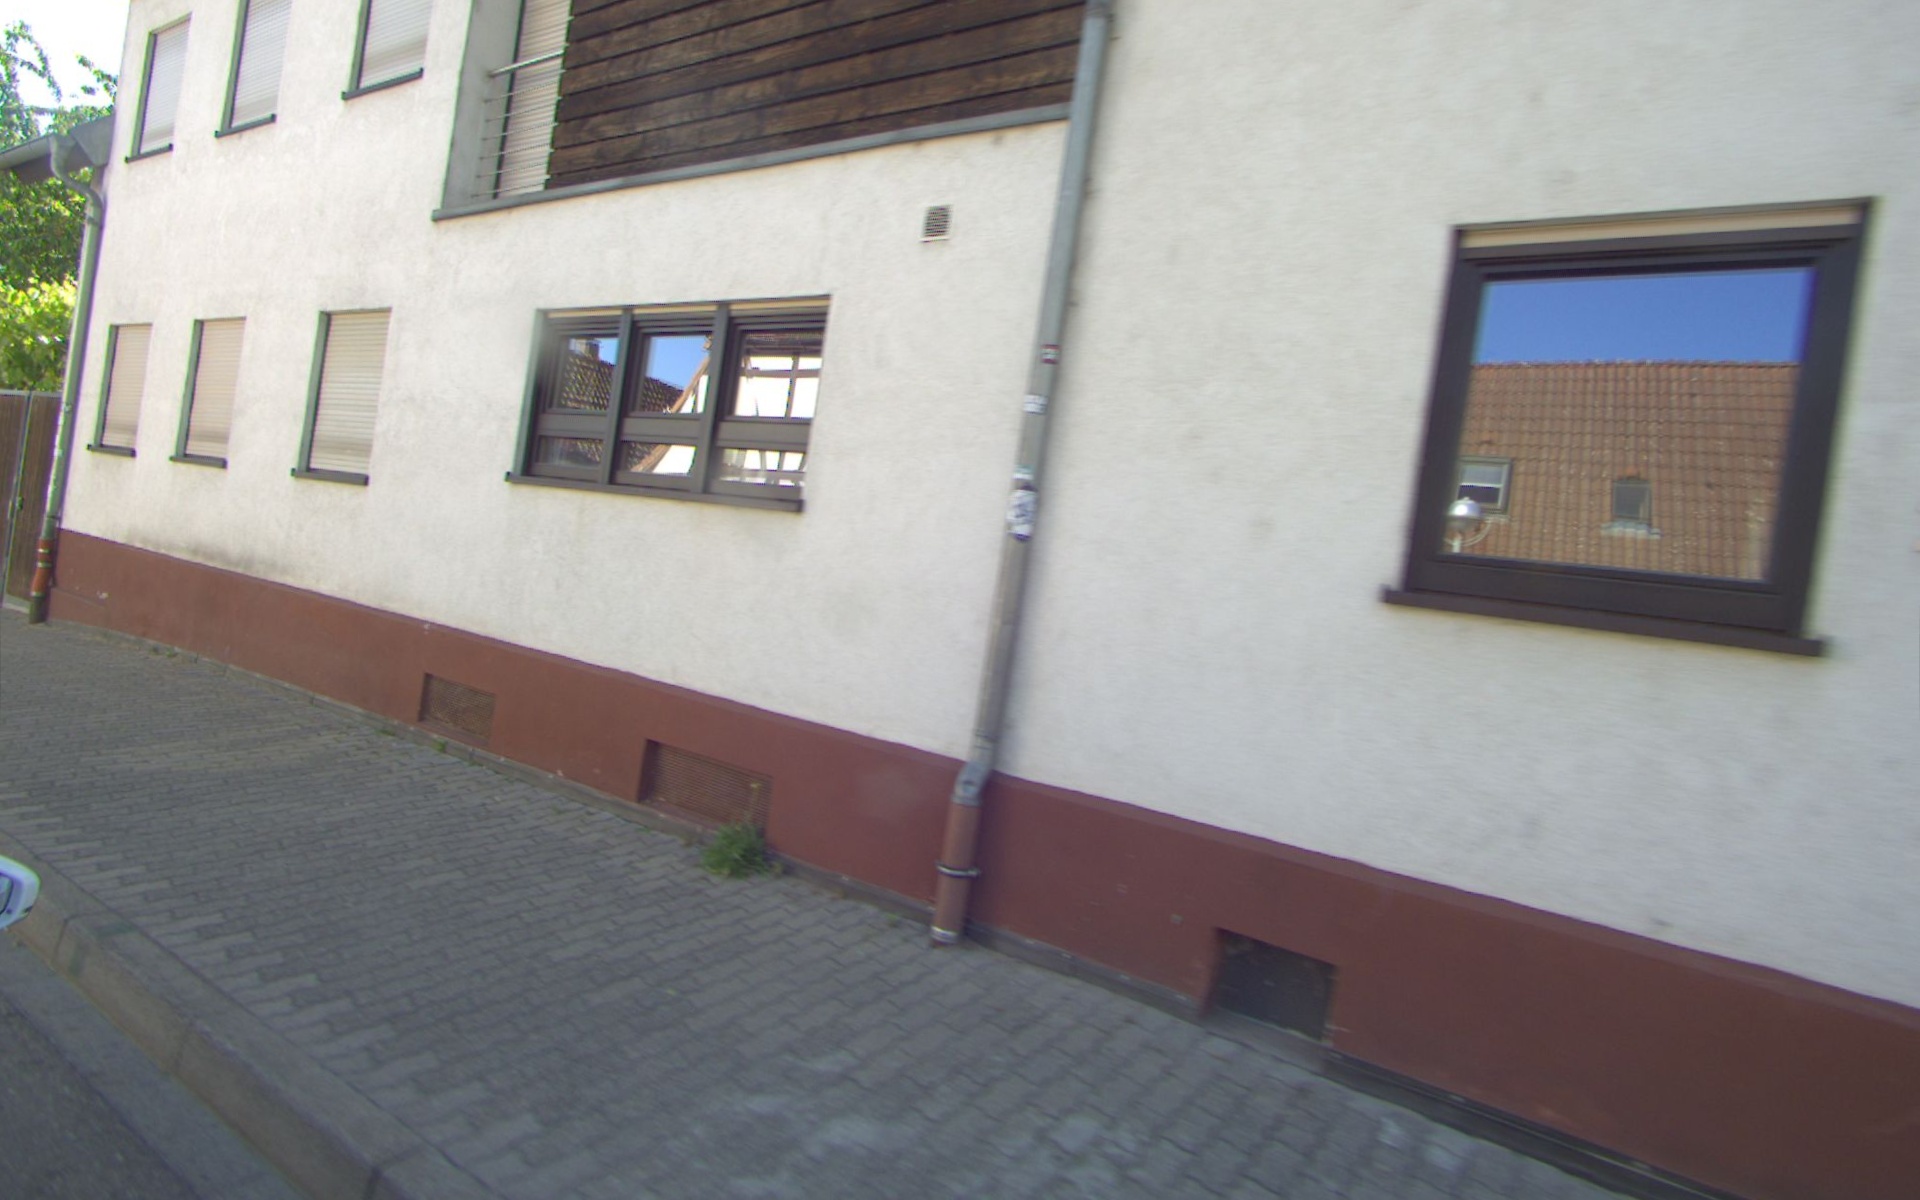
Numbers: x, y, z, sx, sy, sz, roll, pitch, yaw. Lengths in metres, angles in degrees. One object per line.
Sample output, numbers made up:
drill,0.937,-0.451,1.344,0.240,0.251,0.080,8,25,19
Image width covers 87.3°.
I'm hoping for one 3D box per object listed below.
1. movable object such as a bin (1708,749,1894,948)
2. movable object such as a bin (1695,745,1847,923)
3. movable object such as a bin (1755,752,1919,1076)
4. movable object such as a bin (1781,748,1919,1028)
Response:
movable object such as a bin,5.144,1.495,6.201,0.658,0.995,0.530,10,2,29
movable object such as a bin,5.402,1.537,6.736,0.584,0.989,0.498,10,2,29
movable object such as a bin,3.831,1.271,4.077,0.735,1.137,0.481,10,2,29
movable object such as a bin,4.431,1.342,4.662,0.735,1.137,0.527,10,2,29
